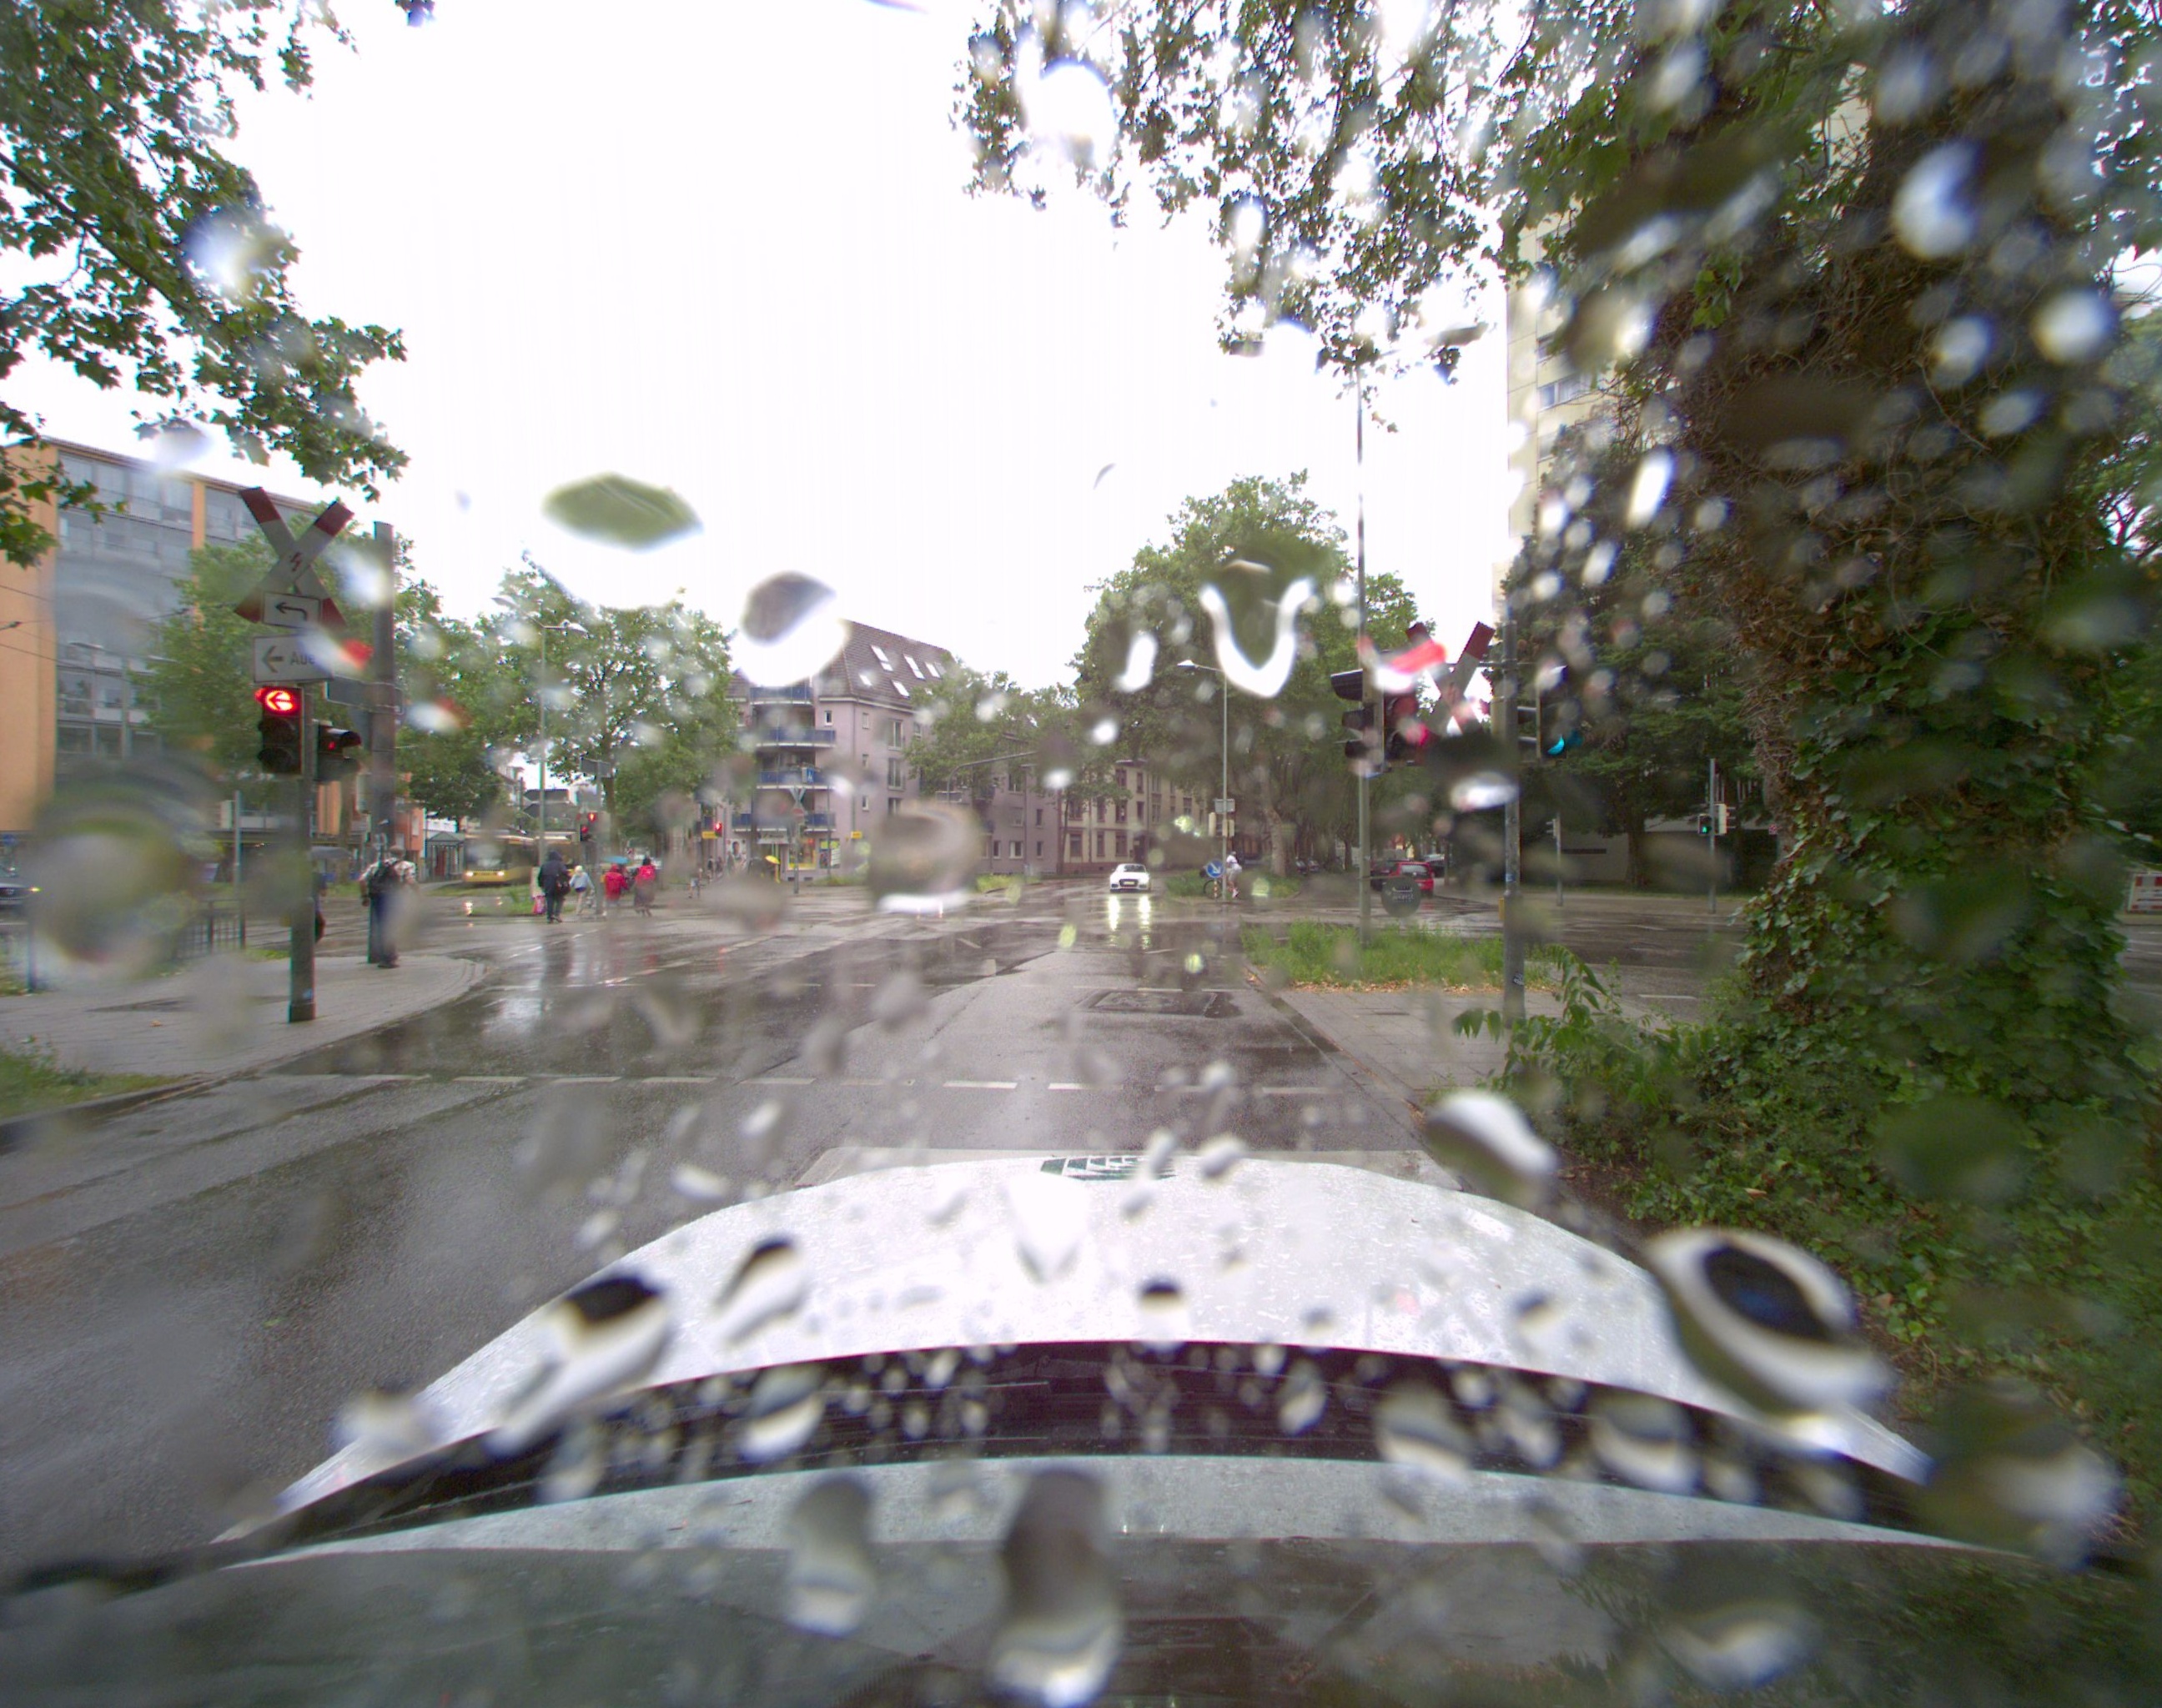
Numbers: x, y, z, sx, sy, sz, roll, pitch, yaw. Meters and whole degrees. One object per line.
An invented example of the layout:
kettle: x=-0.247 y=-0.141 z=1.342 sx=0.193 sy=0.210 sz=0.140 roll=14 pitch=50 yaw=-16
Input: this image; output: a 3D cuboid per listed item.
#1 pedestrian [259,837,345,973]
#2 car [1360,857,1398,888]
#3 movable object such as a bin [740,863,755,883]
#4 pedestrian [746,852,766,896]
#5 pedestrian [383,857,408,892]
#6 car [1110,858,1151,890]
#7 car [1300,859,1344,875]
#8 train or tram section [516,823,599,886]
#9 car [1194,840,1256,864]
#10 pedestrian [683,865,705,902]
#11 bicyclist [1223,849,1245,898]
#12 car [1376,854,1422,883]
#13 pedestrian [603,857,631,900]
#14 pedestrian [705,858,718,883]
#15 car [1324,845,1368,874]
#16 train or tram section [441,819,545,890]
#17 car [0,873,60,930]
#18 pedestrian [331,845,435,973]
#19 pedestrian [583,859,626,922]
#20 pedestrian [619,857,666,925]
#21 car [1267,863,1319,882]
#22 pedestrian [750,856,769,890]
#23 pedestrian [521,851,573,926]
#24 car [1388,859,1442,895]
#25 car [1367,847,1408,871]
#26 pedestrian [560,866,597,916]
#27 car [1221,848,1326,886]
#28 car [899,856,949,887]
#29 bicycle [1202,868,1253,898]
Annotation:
pedestrian: x=-11.264 y=0.696 z=11.805 sx=0.876 sy=1.864 sz=0.881 roll=0 pitch=0 yaw=-43
car: x=17.324 y=1.064 z=47.421 sx=1.769 sy=1.727 sz=4.017 roll=-1 pitch=-1 yaw=16
movable object such as a bin: x=-21.340 y=1.197 z=52.097 sx=0.749 sy=1.236 sz=0.666 roll=0 pitch=-1 yaw=-6
pedestrian: x=-13.946 y=0.835 z=34.953 sx=0.791 sy=1.855 sz=0.676 roll=0 pitch=0 yaw=-22
pedestrian: x=-34.906 y=1.027 z=41.477 sx=0.965 sy=1.766 sz=0.941 roll=0 pitch=-1 yaw=-39
car: x=2.388 y=0.938 z=39.243 sx=1.876 sy=1.436 sz=4.004 roll=0 pitch=0 yaw=4
car: x=23.134 y=1.254 z=78.256 sx=3.958 sy=1.547 sz=2.008 roll=-1 pitch=-1 yaw=14
train or tram section: x=-34.026 y=0.056 z=53.529 sx=2.875 sy=3.545 sz=15.240 roll=0 pitch=0 yaw=-26
car: x=9.493 y=-0.130 z=53.566 sx=3.838 sy=1.486 sz=1.723 roll=-1 pitch=-1 yaw=14
pedestrian: x=-15.171 y=1.155 z=31.919 sx=0.653 sy=1.396 sz=0.774 roll=0 pitch=0 yaw=-33
bicyclist: x=5.690 y=0.717 z=30.360 sx=0.790 sy=1.786 sz=0.699 roll=-1 pitch=-1 yaw=9
car: x=15.893 y=0.698 z=40.865 sx=1.770 sy=1.348 sz=3.945 roll=0 pitch=1 yaw=16
pedestrian: x=-19.359 y=1.002 z=33.998 sx=0.962 sy=1.766 sz=0.944 roll=0 pitch=-1 yaw=-28
pedestrian: x=-24.361 y=1.077 z=53.654 sx=0.677 sy=1.600 sz=0.959 roll=0 pitch=-1 yaw=-29
car: x=28.318 y=0.587 z=87.212 sx=2.040 sy=2.948 sz=4.742 roll=0 pitch=-1 yaw=-18
train or tram section: x=-36.458 y=0.107 z=51.239 sx=2.897 sy=3.768 sz=17.089 roll=0 pitch=-1 yaw=-28
car: x=-32.217 y=1.360 z=23.595 sx=3.994 sy=1.530 sz=1.615 roll=0 pitch=1 yaw=12
pedestrian: x=-9.991 y=0.746 z=11.700 sx=0.867 sy=1.755 sz=0.826 roll=0 pitch=0 yaw=-18
pedestrian: x=-11.679 y=0.877 z=19.973 sx=0.681 sy=1.520 sz=0.657 roll=-1 pitch=0 yaw=-8
pedestrian: x=-11.011 y=0.915 z=20.468 sx=0.728 sy=1.624 sz=0.816 roll=-1 pitch=1 yaw=-5
car: x=16.936 y=1.461 z=65.199 sx=3.958 sy=1.486 sz=2.008 roll=-1 pitch=-1 yaw=14
pedestrian: x=-20.469 y=1.177 z=51.816 sx=0.907 sy=2.151 sz=0.885 roll=0 pitch=-1 yaw=-5
pedestrian: x=-12.620 y=0.795 z=19.258 sx=0.844 sy=1.698 sz=0.680 roll=-4 pitch=3 yaw=-42
car: x=14.825 y=0.982 z=36.329 sx=1.778 sy=1.498 sz=4.017 roll=0 pitch=0 yaw=16
car: x=38.984 y=0.640 z=103.564 sx=2.006 sy=2.948 sz=4.726 roll=0 pitch=-1 yaw=-29
pedestrian: x=-13.984 y=1.022 z=22.675 sx=0.657 sy=1.349 sz=0.706 roll=0 pitch=0 yaw=-12
car: x=7.707 y=0.520 z=32.668 sx=3.958 sy=1.486 sz=2.008 roll=-1 pitch=-1 yaw=14
car: x=-8.008 y=0.857 z=41.834 sx=1.745 sy=1.512 sz=3.839 roll=0 pitch=0 yaw=1
bicycle: x=5.454 y=1.071 z=30.393 sx=1.862 sy=1.081 sz=0.658 roll=-1 pitch=-1 yaw=9
